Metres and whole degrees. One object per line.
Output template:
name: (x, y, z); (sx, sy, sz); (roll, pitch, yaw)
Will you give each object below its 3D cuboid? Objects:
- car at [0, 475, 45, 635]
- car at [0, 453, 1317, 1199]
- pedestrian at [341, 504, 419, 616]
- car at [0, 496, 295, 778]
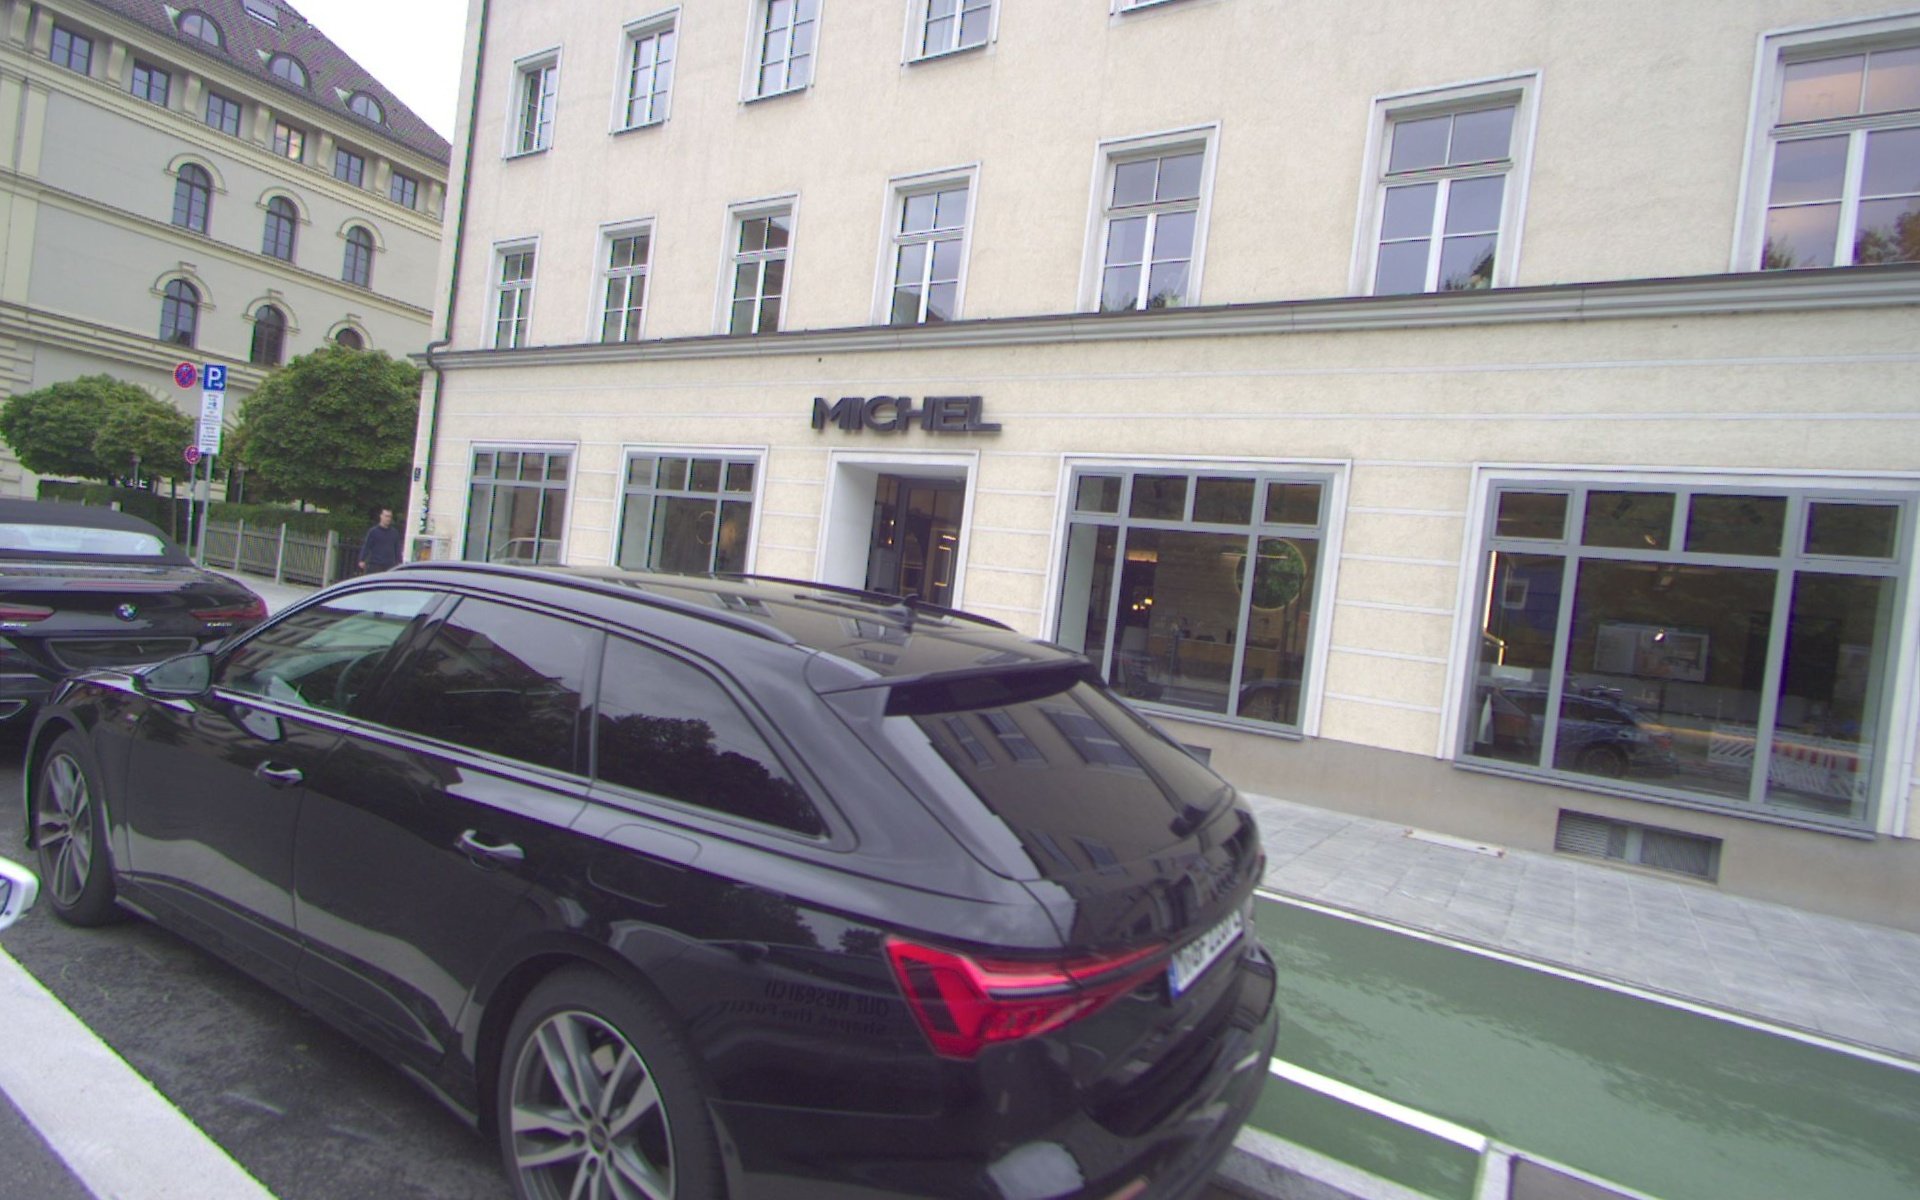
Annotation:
car: (-10.826, -0.642, 10.045); (3.368, 1.514, 1.611); (7, 1, 33)
car: (-1.444, 0.532, 3.419); (4.609, 1.496, 1.806); (7, -3, 32)
pedestrian: (-10.333, -0.701, 17.935); (0.764, 1.859, 0.790); (8, 1, 34)
car: (-6.445, 0.025, 6.679); (4.354, 1.402, 1.683); (7, -1, 33)
